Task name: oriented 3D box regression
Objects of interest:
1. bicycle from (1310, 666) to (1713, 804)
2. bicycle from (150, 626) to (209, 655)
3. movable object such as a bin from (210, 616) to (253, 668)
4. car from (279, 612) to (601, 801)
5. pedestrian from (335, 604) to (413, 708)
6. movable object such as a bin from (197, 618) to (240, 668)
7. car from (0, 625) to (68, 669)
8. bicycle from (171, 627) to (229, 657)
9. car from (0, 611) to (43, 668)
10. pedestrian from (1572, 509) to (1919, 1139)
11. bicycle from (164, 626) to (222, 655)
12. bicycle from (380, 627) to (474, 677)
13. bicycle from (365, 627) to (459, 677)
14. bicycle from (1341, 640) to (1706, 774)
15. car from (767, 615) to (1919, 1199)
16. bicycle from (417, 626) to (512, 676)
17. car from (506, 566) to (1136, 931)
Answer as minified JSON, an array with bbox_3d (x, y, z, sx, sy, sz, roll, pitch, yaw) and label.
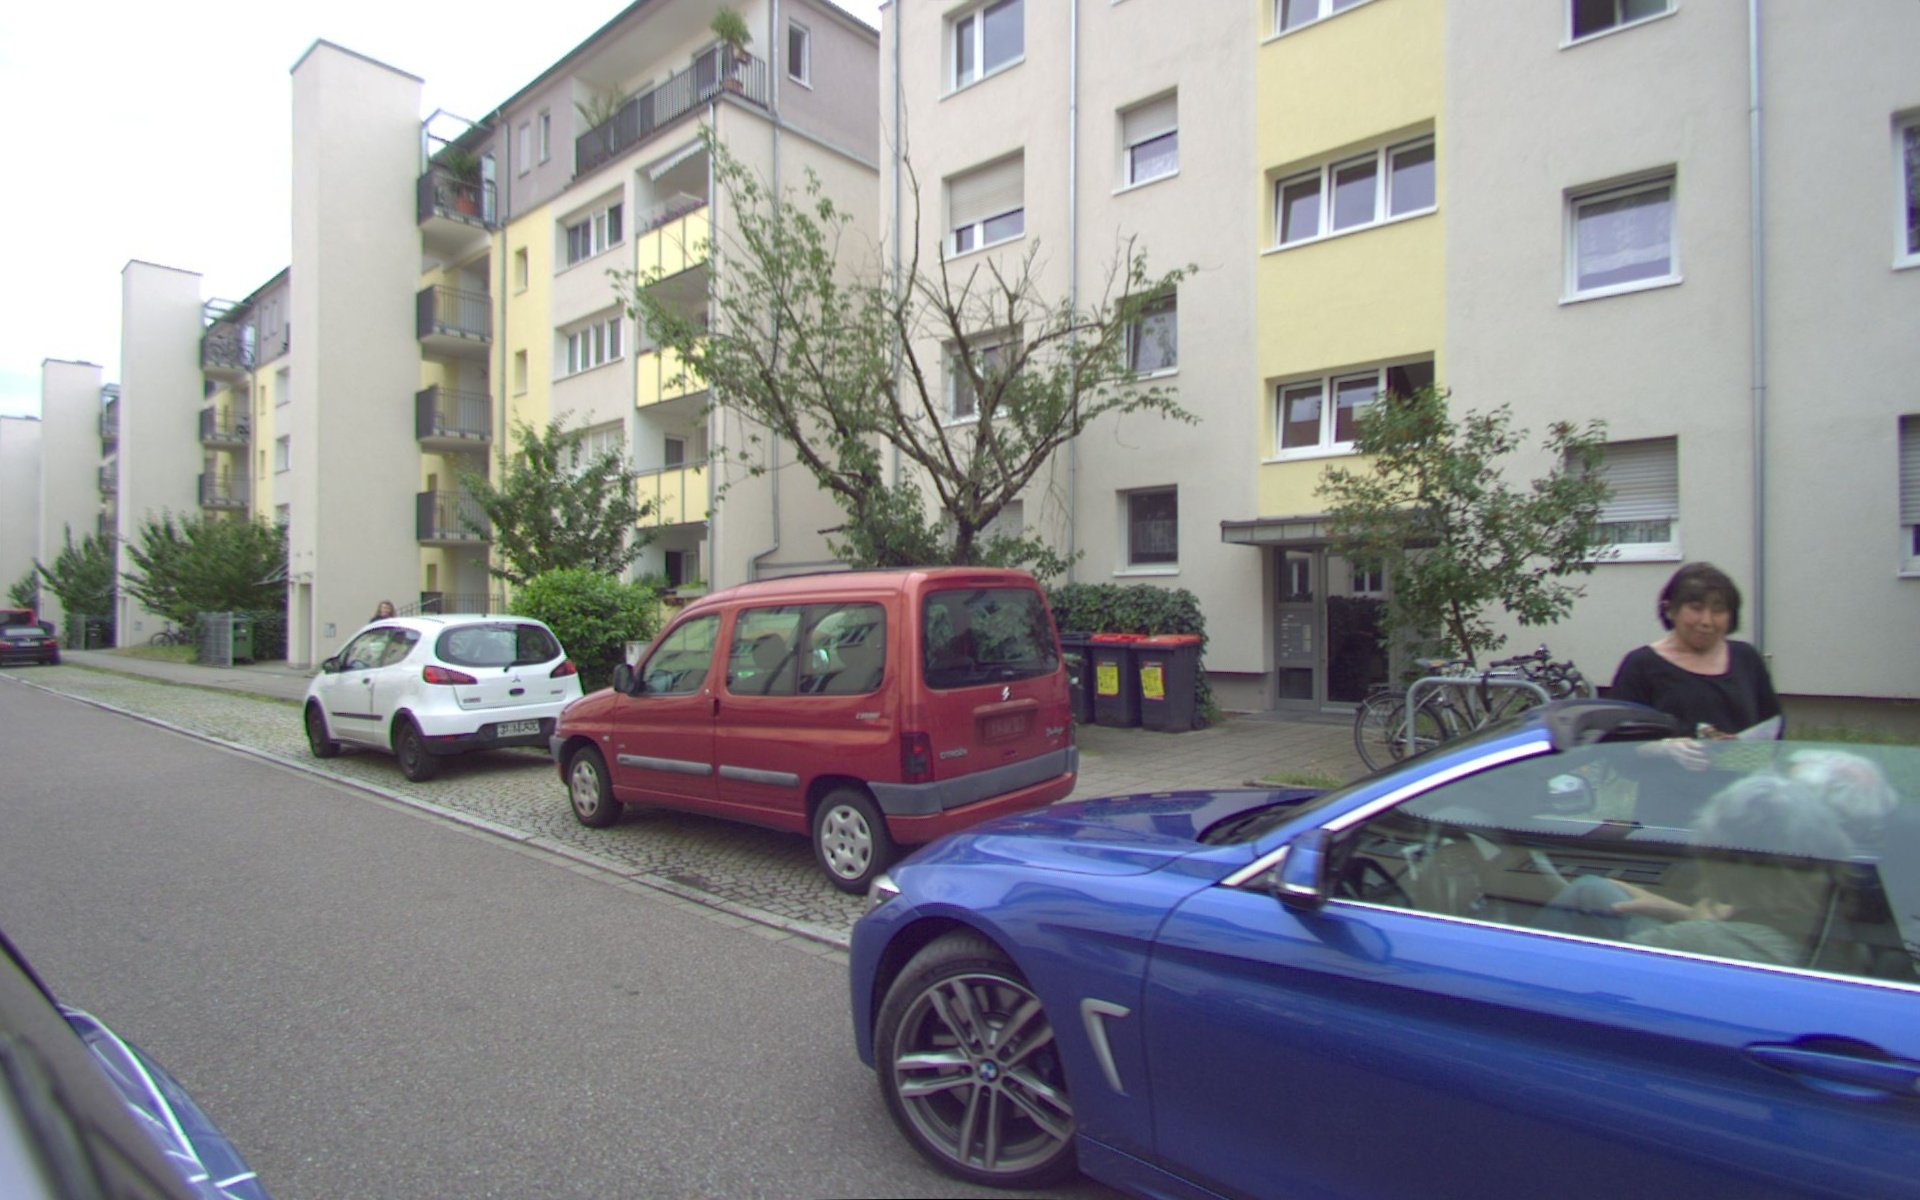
[{"bbox_3d":[4.253,0.996,8.056,2.754,0.854,0.565,-1,-2,40],"label":"bicycle"},{"bbox_3d":[-31.815,1.633,41.284,0.604,1.127,1.816,-1,-1,40],"label":"bicycle"},{"bbox_3d":[-20.806,1.192,28.896,0.794,1.440,1.289,0,-1,-45],"label":"movable object such as a bin"},{"bbox_3d":[-5.564,0.952,10.635,3.869,1.582,1.702,-1,0,42],"label":"car"},{"bbox_3d":[-9.520,0.895,16.445,0.945,1.622,0.792,-1,-2,37],"label":"pedestrian"},{"bbox_3d":[-21.846,1.251,29.809,1.288,1.440,0.794,-1,-1,44],"label":"movable object such as a bin"},{"bbox_3d":[-31.239,1.528,33.590,4.358,1.333,1.851,-1,0,40],"label":"car"},{"bbox_3d":[-30.353,1.667,40.453,1.812,1.127,0.571,0,-2,-43],"label":"bicycle"},{"bbox_3d":[-36.003,1.457,37.615,4.917,1.968,2.130,-1,0,39],"label":"car"},{"bbox_3d":[2.488,0.620,3.238,0.791,1.714,0.737,-1,-2,24],"label":"pedestrian"},{"bbox_3d":[-31.117,1.648,41.061,0.570,1.127,1.814,-2,-2,43],"label":"bicycle"},{"bbox_3d":[-12.948,1.234,24.643,0.621,1.150,2.007,-1,-1,31],"label":"bicycle"},{"bbox_3d":[-13.493,1.253,24.965,0.621,1.150,2.007,-1,-1,31],"label":"bicycle"},{"bbox_3d":[4.930,0.877,9.051,2.754,1.006,0.769,-1,-2,40],"label":"bicycle"},{"bbox_3d":[1.684,0.776,2.200,4.501,1.462,1.825,-1,-1,43],"label":"car"},{"bbox_3d":[-11.953,1.210,24.457,0.622,1.150,2.003,-1,-1,38],"label":"bicycle"},{"bbox_3d":[-1.172,0.759,7.101,4.357,1.784,1.937,-1,-1,39],"label":"car"}]
